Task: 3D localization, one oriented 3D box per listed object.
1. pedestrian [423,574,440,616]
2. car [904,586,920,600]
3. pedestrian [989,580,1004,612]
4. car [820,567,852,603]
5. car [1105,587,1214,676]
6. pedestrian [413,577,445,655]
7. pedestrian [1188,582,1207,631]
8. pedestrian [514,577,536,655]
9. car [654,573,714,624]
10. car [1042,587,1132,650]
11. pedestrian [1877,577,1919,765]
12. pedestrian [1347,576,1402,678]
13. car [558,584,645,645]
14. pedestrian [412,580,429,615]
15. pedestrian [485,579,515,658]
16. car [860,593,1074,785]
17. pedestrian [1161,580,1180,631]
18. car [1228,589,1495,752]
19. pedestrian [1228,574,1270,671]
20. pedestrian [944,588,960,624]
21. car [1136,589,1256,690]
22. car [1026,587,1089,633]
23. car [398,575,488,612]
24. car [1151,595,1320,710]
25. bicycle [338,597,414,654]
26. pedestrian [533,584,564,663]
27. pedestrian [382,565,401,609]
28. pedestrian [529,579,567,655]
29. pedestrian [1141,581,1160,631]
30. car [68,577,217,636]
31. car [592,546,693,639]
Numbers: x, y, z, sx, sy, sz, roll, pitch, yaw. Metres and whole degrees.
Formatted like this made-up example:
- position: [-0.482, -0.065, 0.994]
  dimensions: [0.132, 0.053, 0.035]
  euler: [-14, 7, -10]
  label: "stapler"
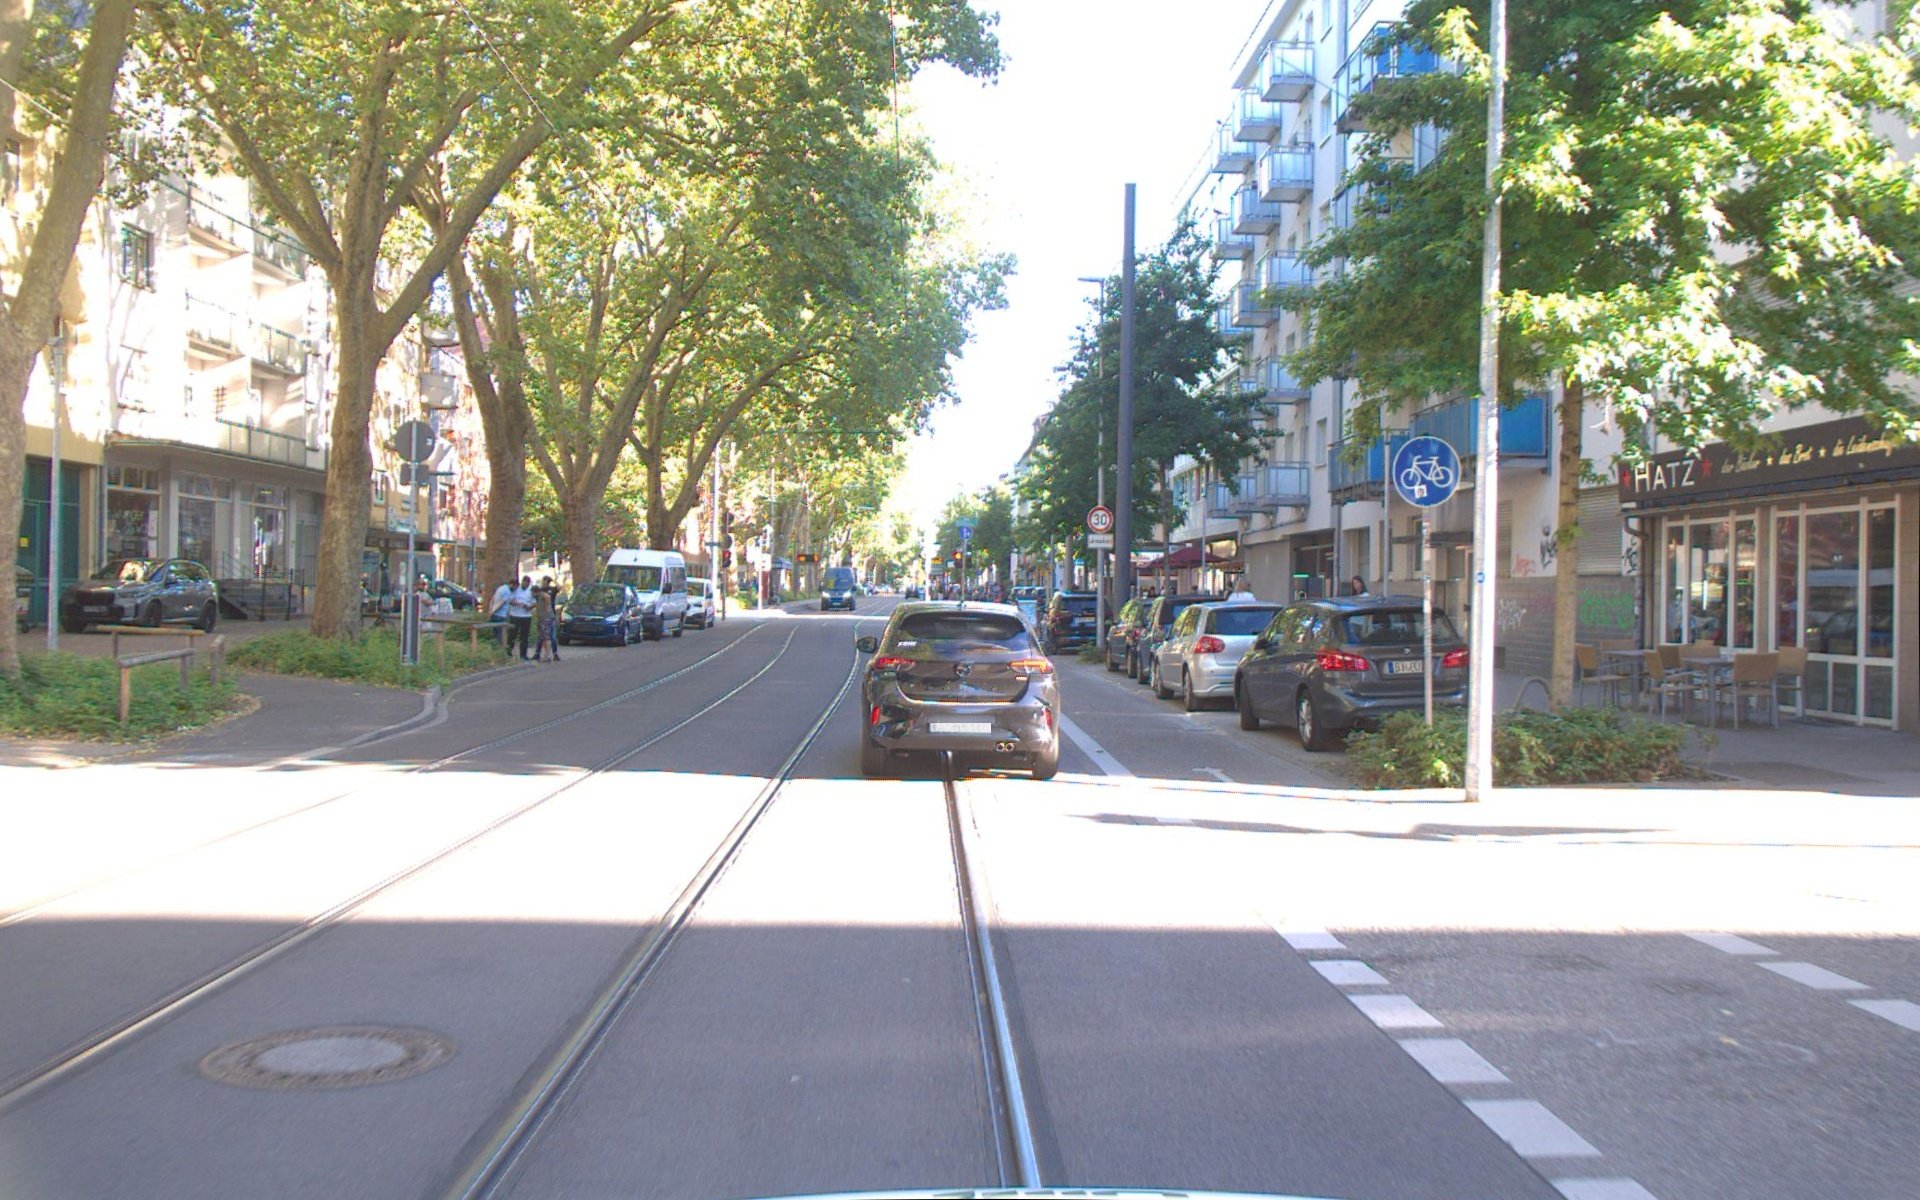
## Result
- position: [-20.679, -0.191, 64.760]
  dimensions: [0.497, 1.610, 0.526]
  euler: [1, 0, -4]
  label: "pedestrian"
- position: [-5.917, -0.898, 204.388]
  dimensions: [1.714, 1.680, 4.000]
  euler: [1, 0, 0]
  label: "car"
- position: [2.410, -0.284, 110.367]
  dimensions: [0.839, 2.048, 1.069]
  euler: [-3, 0, -1]
  label: "pedestrian"
- position: [-8.002, -0.955, 106.463]
  dimensions: [1.955, 2.250, 5.097]
  euler: [1, 1, -5]
  label: "car"
- position: [3.817, 0.566, 32.183]
  dimensions: [1.683, 1.601, 3.682]
  euler: [1, 0, 0]
  label: "car"
- position: [-11.124, 0.329, 34.672]
  dimensions: [0.497, 1.610, 0.526]
  euler: [1, 0, -4]
  label: "pedestrian"
- position: [8.635, 0.244, 60.222]
  dimensions: [0.616, 1.763, 0.632]
  euler: [1, 0, 5]
  label: "pedestrian"
- position: [-9.072, 0.326, 34.511]
  dimensions: [0.339, 1.610, 0.508]
  euler: [1, 0, -3]
  label: "pedestrian"
- position: [-10.001, -0.070, 60.196]
  dimensions: [1.955, 1.747, 3.994]
  euler: [1, 1, -7]
  label: "car"
- position: [3.242, 0.439, 42.874]
  dimensions: [1.953, 1.534, 3.999]
  euler: [1, 1, -1]
  label: "car"
- position: [8.738, 0.622, 14.645]
  dimensions: [0.763, 1.644, 0.846]
  euler: [1, 0, -39]
  label: "pedestrian"
- position: [7.312, 0.469, 29.186]
  dimensions: [0.776, 1.779, 0.770]
  euler: [1, 0, 1]
  label: "pedestrian"
- position: [-9.515, 0.359, 44.158]
  dimensions: [1.720, 1.534, 3.996]
  euler: [1, 1, -5]
  label: "car"
- position: [-21.310, -0.109, 65.356]
  dimensions: [0.497, 1.356, 0.526]
  euler: [1, 0, -4]
  label: "pedestrian"
- position: [-9.516, 0.374, 34.240]
  dimensions: [0.497, 1.610, 0.526]
  euler: [1, 0, -5]
  label: "pedestrian"
- position: [0.003, 0.701, 14.947]
  dimensions: [1.646, 1.447, 3.626]
  euler: [2, 0, -2]
  label: "car"
- position: [7.425, 0.197, 58.364]
  dimensions: [0.616, 1.763, 0.632]
  euler: [1, 0, 3]
  label: "pedestrian"
- position: [4.353, 0.698, 18.578]
  dimensions: [1.685, 1.601, 4.080]
  euler: [1, 0, -5]
  label: "car"
- position: [5.078, 0.381, 29.082]
  dimensions: [0.588, 1.680, 0.630]
  euler: [1, 0, -4]
  label: "pedestrian"
- position: [-0.372, 0.268, 74.034]
  dimensions: [0.584, 1.618, 0.891]
  euler: [1, 0, -8]
  label: "pedestrian"
- position: [3.971, 0.623, 28.259]
  dimensions: [1.617, 1.601, 3.084]
  euler: [1, 0, 0]
  label: "car"
- position: [3.804, 0.361, 63.973]
  dimensions: [1.951, 1.668, 4.004]
  euler: [1, 0, 10]
  label: "car"
- position: [-25.403, -0.324, 81.428]
  dimensions: [3.912, 1.735, 1.997]
  euler: [1, 0, -8]
  label: "car"
- position: [3.932, 0.705, 24.137]
  dimensions: [1.684, 1.516, 3.680]
  euler: [1, 0, -3]
  label: "car"
- position: [-12.136, 0.528, 34.352]
  dimensions: [1.659, 1.080, 0.452]
  euler: [3, 0, 29]
  label: "bicycle"
- position: [-8.593, 0.485, 34.528]
  dimensions: [0.496, 1.610, 0.526]
  euler: [1, 0, -2]
  label: "pedestrian"
- position: [-21.015, -0.493, 61.127]
  dimensions: [0.542, 1.610, 0.573]
  euler: [1, 0, -6]
  label: "pedestrian"
- position: [-8.772, 0.356, 35.202]
  dimensions: [0.670, 1.610, 0.557]
  euler: [1, 0, -3]
  label: "pedestrian"
- position: [6.721, 0.216, 58.381]
  dimensions: [0.616, 1.763, 0.632]
  euler: [1, 0, 3]
  label: "pedestrian"
- position: [-19.140, 0.118, 38.905]
  dimensions: [1.661, 1.298, 3.827]
  euler: [1, 1, -1]
  label: "car"
- position: [-9.552, -0.239, 50.251]
  dimensions: [2.050, 2.629, 5.995]
  euler: [1, 1, -2]
  label: "car"
